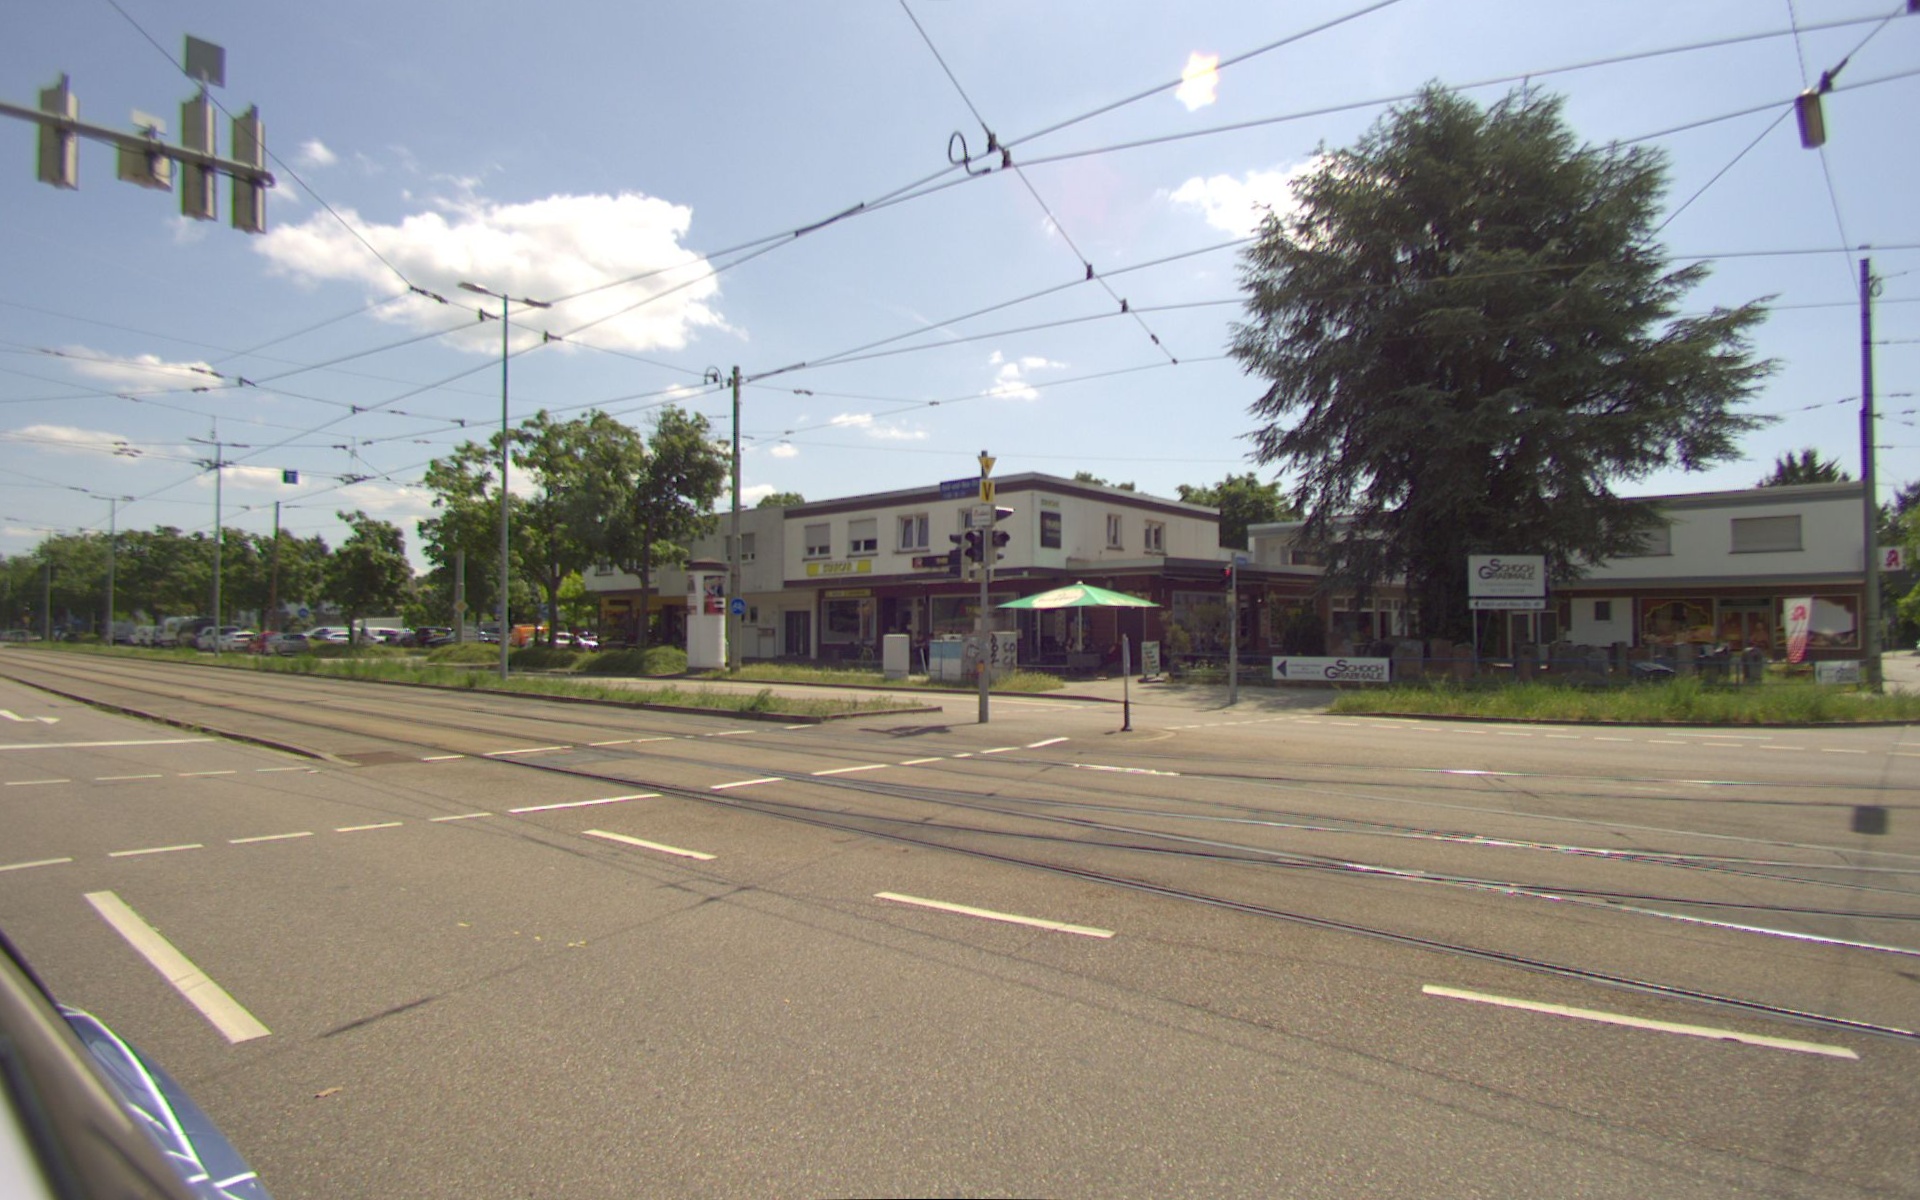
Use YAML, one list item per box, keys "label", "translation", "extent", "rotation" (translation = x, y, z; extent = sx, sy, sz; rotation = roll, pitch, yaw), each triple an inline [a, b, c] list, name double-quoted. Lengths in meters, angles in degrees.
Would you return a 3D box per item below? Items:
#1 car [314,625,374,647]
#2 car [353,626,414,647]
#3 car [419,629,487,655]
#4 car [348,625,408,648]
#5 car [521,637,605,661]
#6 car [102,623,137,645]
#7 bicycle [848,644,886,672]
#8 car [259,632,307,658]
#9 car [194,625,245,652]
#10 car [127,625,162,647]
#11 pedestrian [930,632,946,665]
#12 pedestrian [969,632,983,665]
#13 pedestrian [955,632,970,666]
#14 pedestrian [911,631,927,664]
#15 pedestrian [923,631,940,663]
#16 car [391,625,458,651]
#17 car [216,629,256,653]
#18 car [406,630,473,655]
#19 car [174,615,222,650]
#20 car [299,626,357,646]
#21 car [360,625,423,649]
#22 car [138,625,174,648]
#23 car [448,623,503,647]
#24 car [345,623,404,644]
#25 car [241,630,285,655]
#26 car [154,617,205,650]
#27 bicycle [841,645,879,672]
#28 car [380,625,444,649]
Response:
- label: "car"
  translation: [-52.324, 3.051, 85.962]
  extent: [1.803, 1.749, 3.944]
  rotation: [-1, -4, 42]
- label: "car"
  translation: [-47.496, 3.006, 83.402]
  extent: [1.902, 1.749, 3.944]
  rotation: [-2, -3, 42]
- label: "car"
  translation: [-36.065, 2.984, 72.022]
  extent: [1.803, 1.749, 3.944]
  rotation: [-2, -3, 42]
- label: "car"
  translation: [-49.129, 3.088, 85.454]
  extent: [1.803, 1.749, 3.944]
  rotation: [-1, -4, 42]
- label: "car"
  translation: [-24.310, 2.970, 62.027]
  extent: [1.907, 1.445, 4.423]
  rotation: [-2, -3, 44]
- label: "car"
  translation: [-86.358, 3.446, 103.928]
  extent: [4.486, 2.117, 2.045]
  rotation: [-1, 0, 40]
- label: "bicycle"
  translation: [-3.677, 2.278, 39.872]
  extent: [1.801, 1.049, 0.393]
  rotation: [-2, -3, 44]
- label: "car"
  translation: [-43.450, 2.847, 64.950]
  extent: [4.551, 1.551, 1.559]
  rotation: [-1, 0, 43]
- label: "car"
  translation: [-55.637, 2.853, 76.019]
  extent: [4.887, 1.851, 2.127]
  rotation: [-1, 0, 42]
- label: "car"
  translation: [-77.413, 3.391, 96.100]
  extent: [4.486, 1.953, 1.772]
  rotation: [-1, 0, 40]
- label: "pedestrian"
  translation: [-0.840, 1.865, 38.908]
  extent: [0.528, 1.278, 0.340]
  rotation: [-2, -3, 44]
- label: "pedestrian"
  translation: [0.607, 1.849, 38.726]
  extent: [0.400, 1.255, 0.382]
  rotation: [-2, -3, 42]
- label: "pedestrian"
  translation: [0.085, 1.845, 38.082]
  extent: [0.501, 1.278, 0.315]
  rotation: [-2, -3, 43]
- label: "pedestrian"
  translation: [-1.612, 1.873, 39.720]
  extent: [0.532, 1.278, 0.349]
  rotation: [-2, -3, 43]
- label: "pedestrian"
  translation: [-1.138, 1.864, 40.192]
  extent: [0.580, 1.278, 0.348]
  rotation: [-2, -3, 43]
- label: "car"
  translation: [-39.872, 2.837, 75.419]
  extent: [1.803, 1.749, 3.944]
  rotation: [-1, -4, 42]
- label: "car"
  translation: [-51.051, 2.882, 71.314]
  extent: [4.359, 1.551, 1.483]
  rotation: [-1, 0, 43]
- label: "car"
  translation: [-38.118, 3.106, 74.133]
  extent: [1.879, 1.749, 3.944]
  rotation: [-2, -3, 42]
- label: "car"
  translation: [-60.220, 2.532, 79.946]
  extent: [5.032, 2.631, 2.127]
  rotation: [-1, 0, 42]
- label: "car"
  translation: [-57.899, 3.315, 92.771]
  extent: [1.803, 1.749, 4.144]
  rotation: [-1, -4, 42]
- label: "car"
  translation: [-45.724, 2.965, 81.431]
  extent: [1.803, 1.749, 3.944]
  rotation: [-1, -4, 42]
- label: "car"
  translation: [-72.624, 3.273, 91.403]
  extent: [4.648, 1.953, 1.771]
  rotation: [-1, 0, 42]
- label: "car"
  translation: [-48.364, 3.517, 101.113]
  extent: [1.849, 2.242, 4.594]
  rotation: [-1, -4, 39]
- label: "car"
  translation: [-70.065, 4.044, 121.171]
  extent: [2.257, 2.500, 5.626]
  rotation: [-1, -3, 39]
- label: "car"
  translation: [-47.229, 2.859, 68.555]
  extent: [3.645, 1.551, 1.484]
  rotation: [-1, 0, 39]
- label: "car"
  translation: [-66.086, 2.759, 85.662]
  extent: [6.701, 2.631, 2.128]
  rotation: [-1, 0, 41]
- label: "bicycle"
  translation: [-3.934, 2.277, 39.554]
  extent: [1.801, 1.049, 0.393]
  rotation: [-2, -3, 44]
- label: "car"
  translation: [-41.807, 2.838, 77.242]
  extent: [1.803, 1.749, 3.944]
  rotation: [-2, -3, 42]
